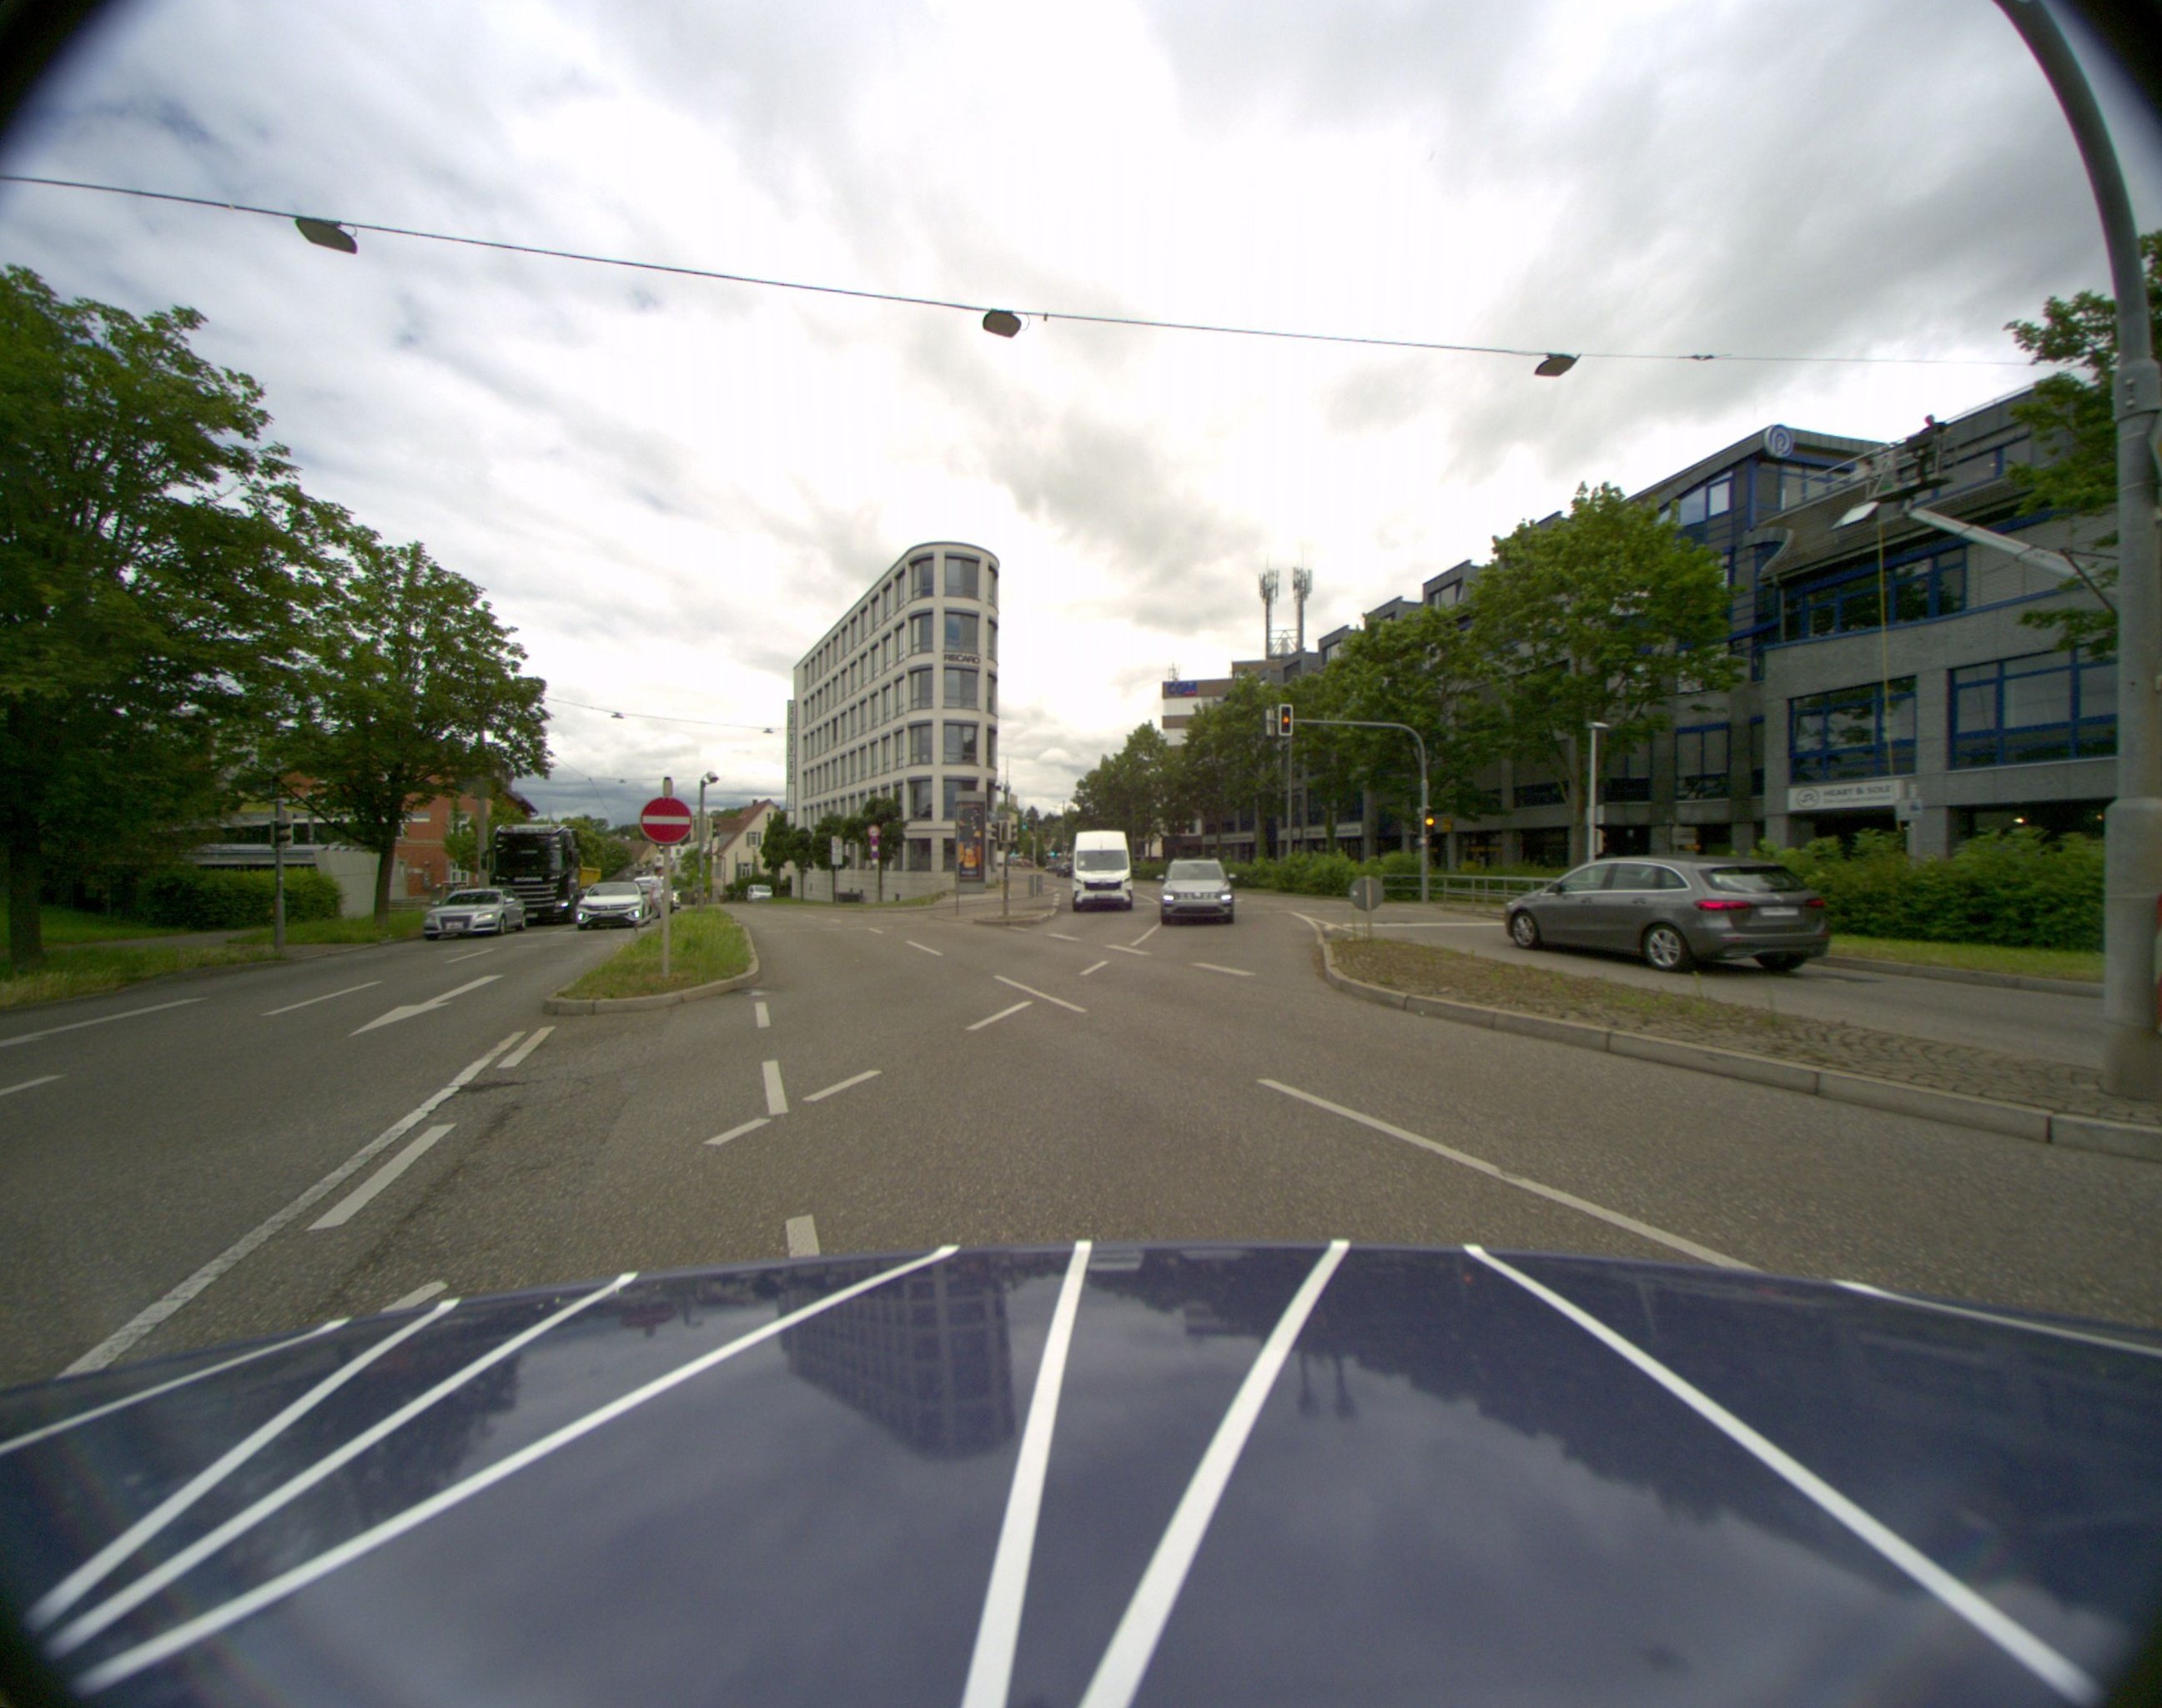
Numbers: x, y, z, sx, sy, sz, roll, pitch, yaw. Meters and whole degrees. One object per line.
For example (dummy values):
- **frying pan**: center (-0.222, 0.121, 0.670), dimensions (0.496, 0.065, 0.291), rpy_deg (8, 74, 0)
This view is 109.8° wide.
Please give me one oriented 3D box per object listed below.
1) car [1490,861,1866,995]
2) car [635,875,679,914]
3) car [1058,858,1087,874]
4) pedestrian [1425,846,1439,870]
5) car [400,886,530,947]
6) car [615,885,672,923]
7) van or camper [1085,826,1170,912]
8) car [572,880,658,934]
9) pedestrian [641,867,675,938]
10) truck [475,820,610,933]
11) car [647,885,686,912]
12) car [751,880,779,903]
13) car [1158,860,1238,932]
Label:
- **car**: center (8.273, 0.893, 11.185), dimensions (1.788, 1.528, 4.394), rpy_deg (-1, 0, -5)
- **car**: center (-21.255, 1.994, 38.218), dimensions (1.758, 1.786, 4.278), rpy_deg (-2, -1, -27)
- **car**: center (-0.840, 1.137, 71.361), dimensions (1.852, 1.428, 4.700), rpy_deg (1, 0, -11)
- **pedestrian**: center (19.789, 0.238, 42.876), dimensions (0.366, 1.326, 0.557), rpy_deg (-3, 1, -17)
- **car**: center (-18.091, 1.774, 22.569), dimensions (1.992, 1.434, 4.150), rpy_deg (-2, 0, -25)
- **car**: center (-18.060, 2.021, 31.492), dimensions (1.656, 1.366, 3.970), rpy_deg (-2, -1, -25)
- **van or camper**: center (1.507, 0.472, 27.234), dimensions (2.111, 2.674, 6.296), rpy_deg (-1, 0, -5)
- **car**: center (-15.275, 1.662, 25.144), dimensions (1.858, 1.520, 4.480), rpy_deg (-2, -1, -25)
- **pedestrian**: center (-11.644, 1.310, 20.917), dimensions (0.758, 1.906, 0.586), rpy_deg (-1, 0, -27)
- **truck**: center (-21.546, 0.801, 31.009), dimensions (2.832, 3.902, 9.438), rpy_deg (-2, 0, -26)
- **car**: center (-24.202, 2.534, 44.289), dimensions (1.758, 1.368, 4.278), rpy_deg (-1, -1, -31)
- **car**: center (-32.143, 3.782, 77.178), dimensions (2.181, 2.002, 3.990), rpy_deg (-1, 1, -29)
- **car**: center (3.229, 1.040, 20.342), dimensions (1.832, 1.636, 4.330), rpy_deg (-1, 0, 12)
